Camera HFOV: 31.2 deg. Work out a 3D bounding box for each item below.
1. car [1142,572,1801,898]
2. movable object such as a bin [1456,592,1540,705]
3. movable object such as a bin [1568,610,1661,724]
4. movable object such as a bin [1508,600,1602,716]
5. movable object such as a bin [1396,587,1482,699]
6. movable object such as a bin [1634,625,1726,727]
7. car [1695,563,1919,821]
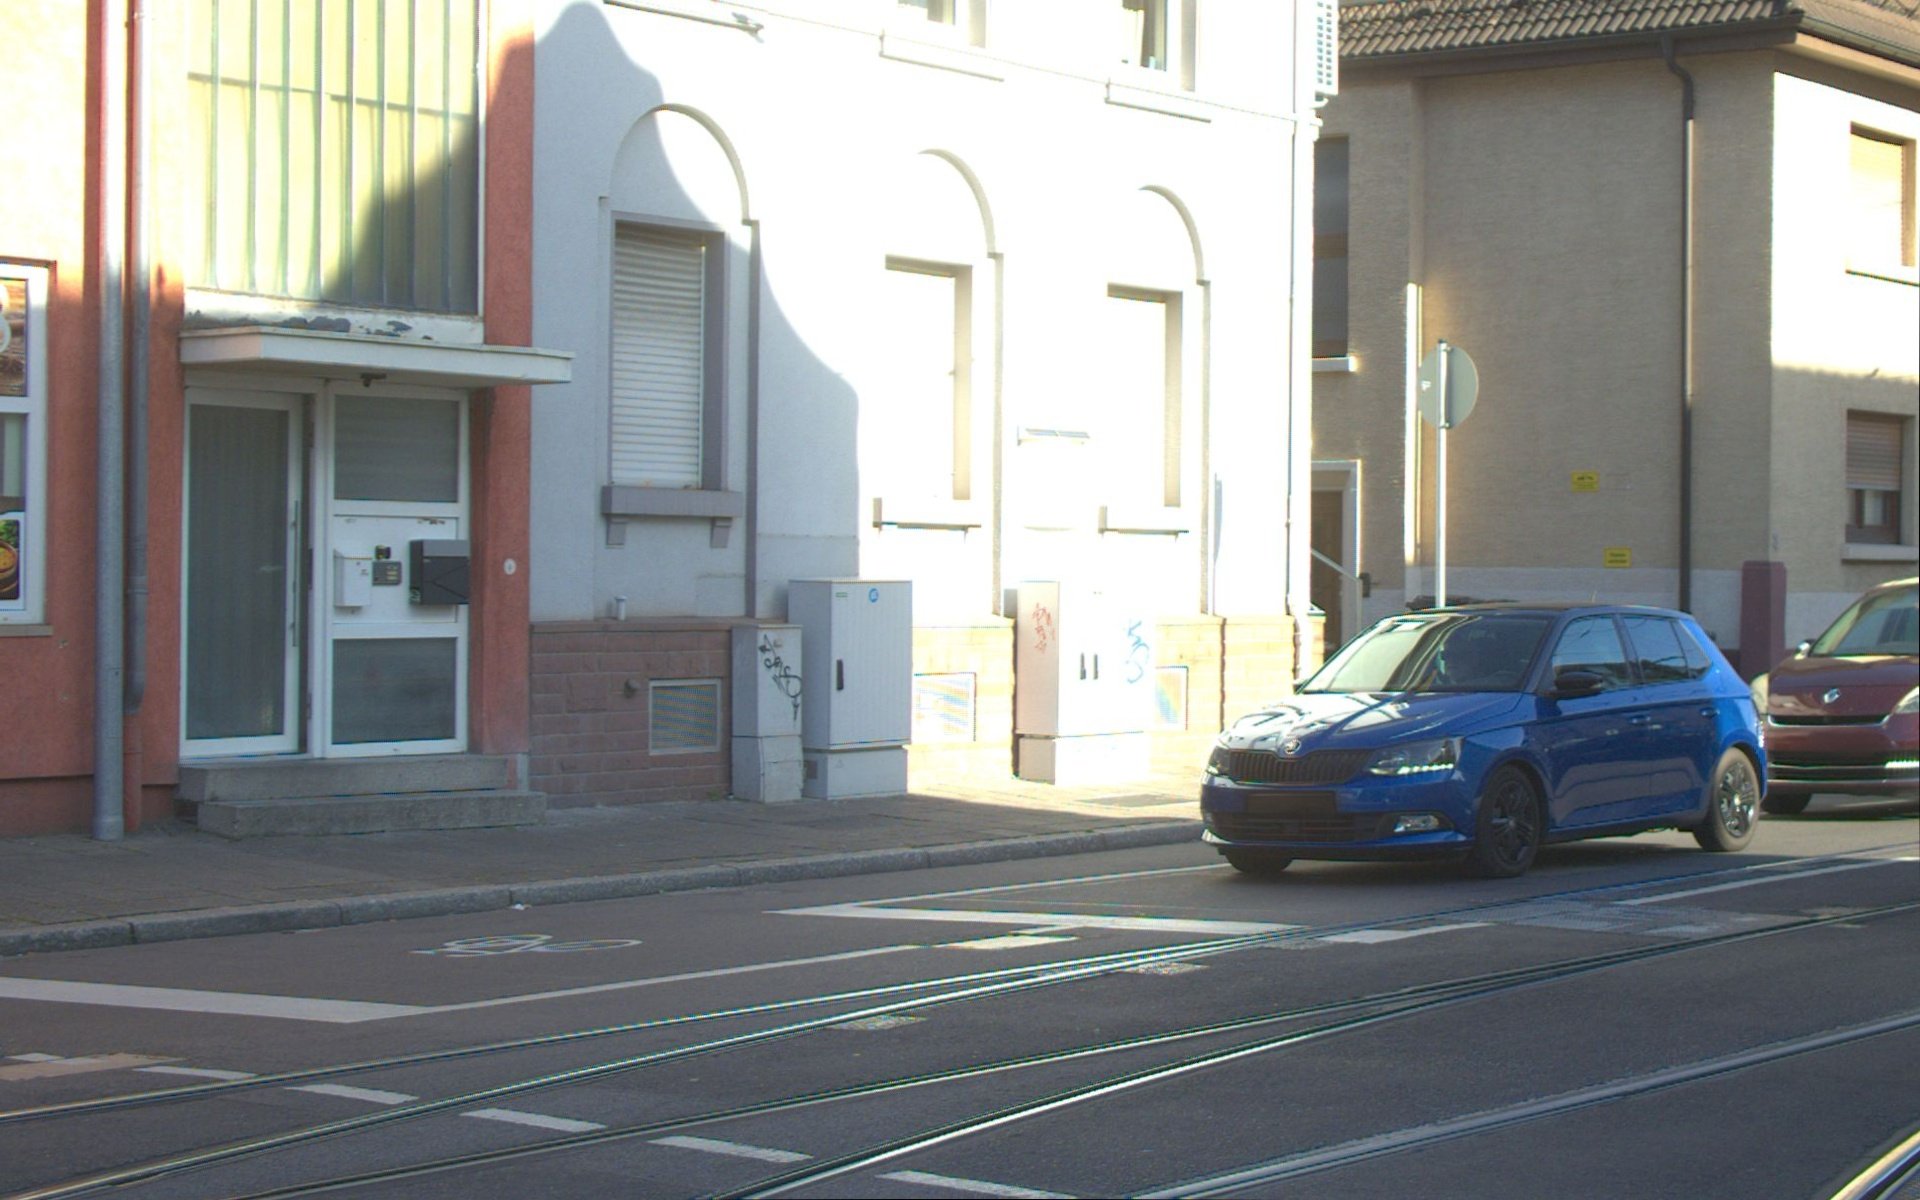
[{"bbox_3d":[2.846,0.658,18.515,1.688,1.562,3.919,-2,-1,40],"label":"car"},{"bbox_3d":[5.488,0.490,35.066,0.570,1.107,0.589,4,3,38],"label":"movable object such as a bin"},{"bbox_3d":[6.523,0.660,34.245,0.617,1.076,0.671,4,3,38],"label":"movable object such as a bin"},{"bbox_3d":[6.004,0.578,34.675,0.643,1.107,0.671,4,3,38],"label":"movable object such as a bin"},{"bbox_3d":[4.939,0.440,35.466,0.616,1.107,0.589,4,3,38],"label":"movable object such as a bin"},{"bbox_3d":[7.093,0.743,33.874,0.659,0.941,0.581,4,3,38],"label":"movable object such as a bin"},{"bbox_3d":[7.025,0.579,23.628,1.742,1.605,4.703,-1,-1,42],"label":"car"}]
